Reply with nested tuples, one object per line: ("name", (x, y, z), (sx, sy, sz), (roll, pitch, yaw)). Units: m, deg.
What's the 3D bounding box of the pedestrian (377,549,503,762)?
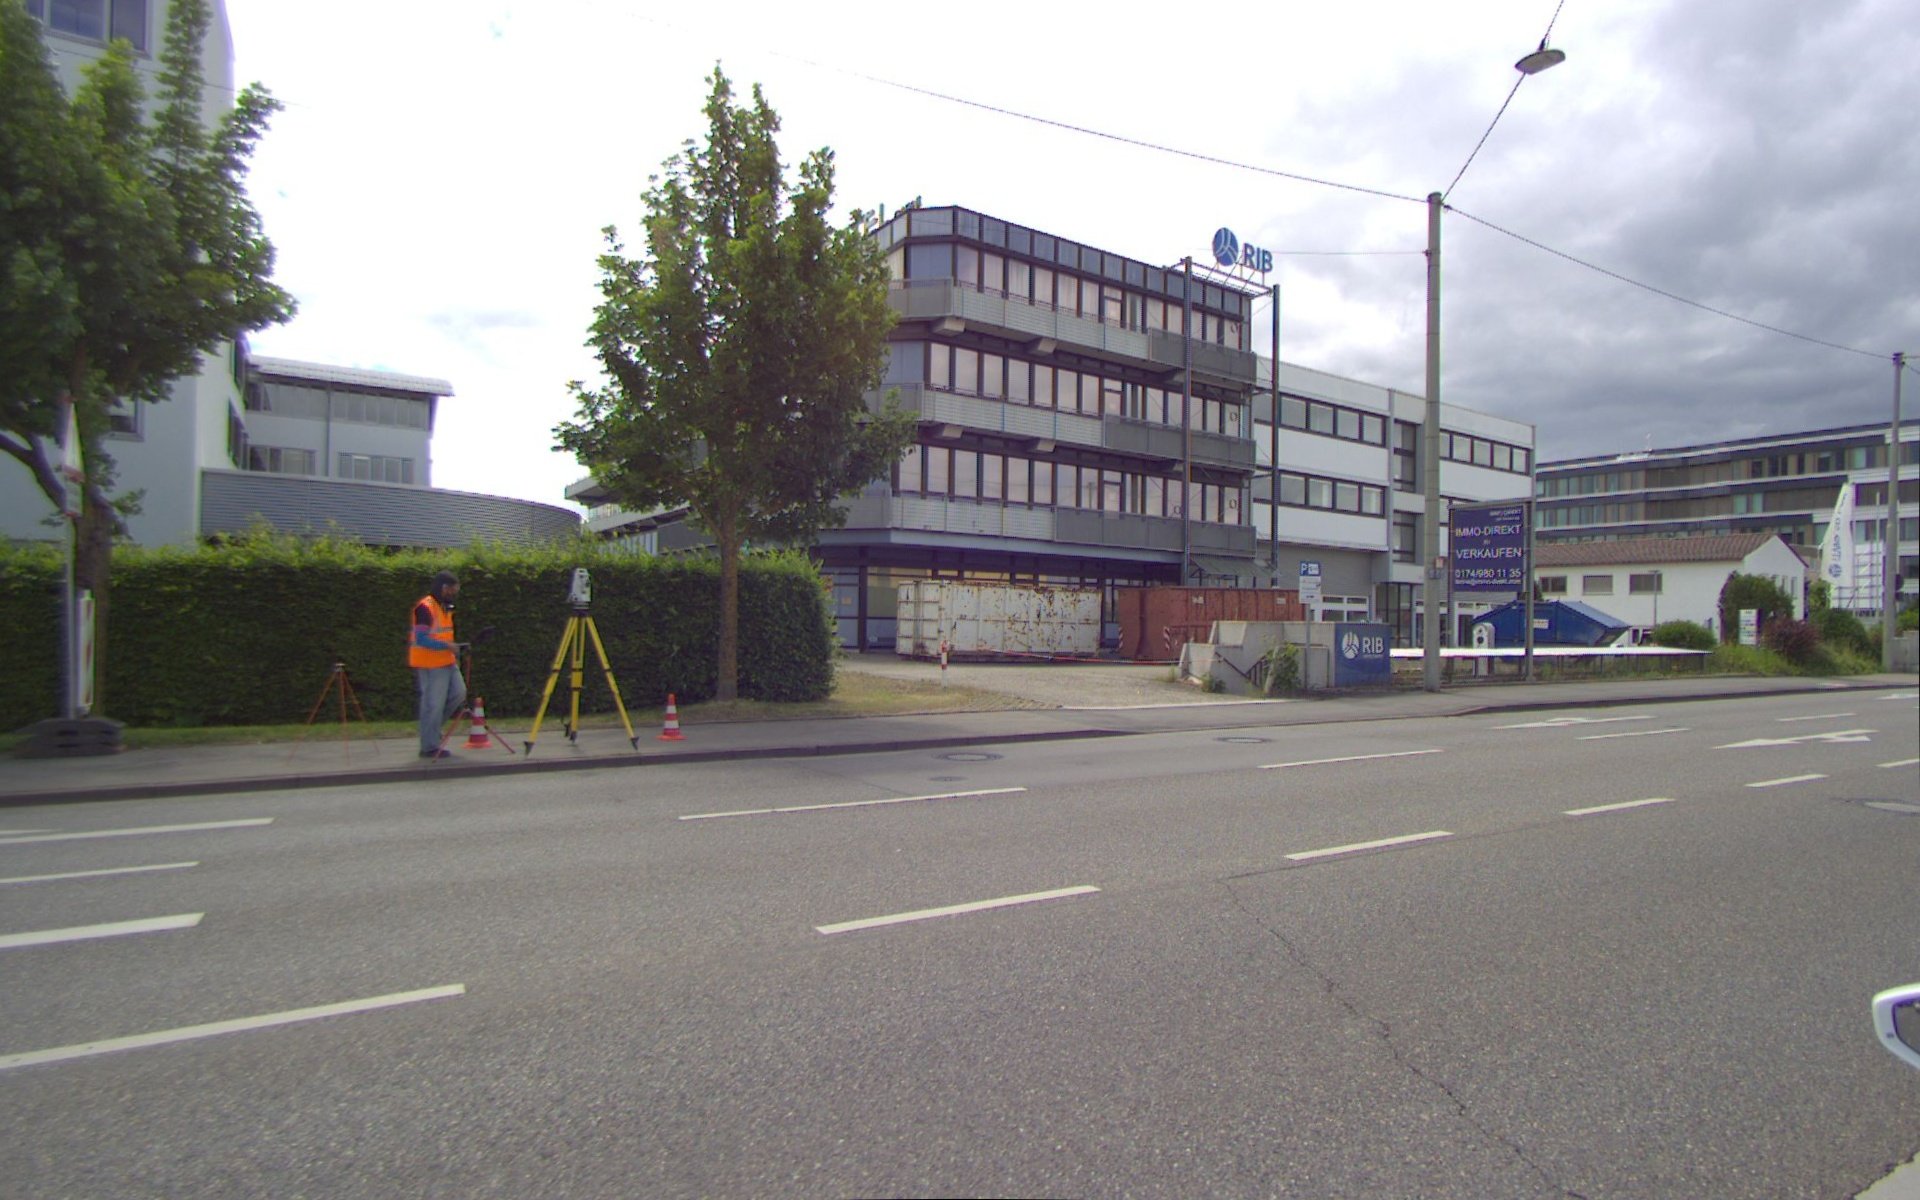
("pedestrian", (-5.235, 0.535, 10.145), (0.794, 2.040, 0.726), (2, 0, 12))
